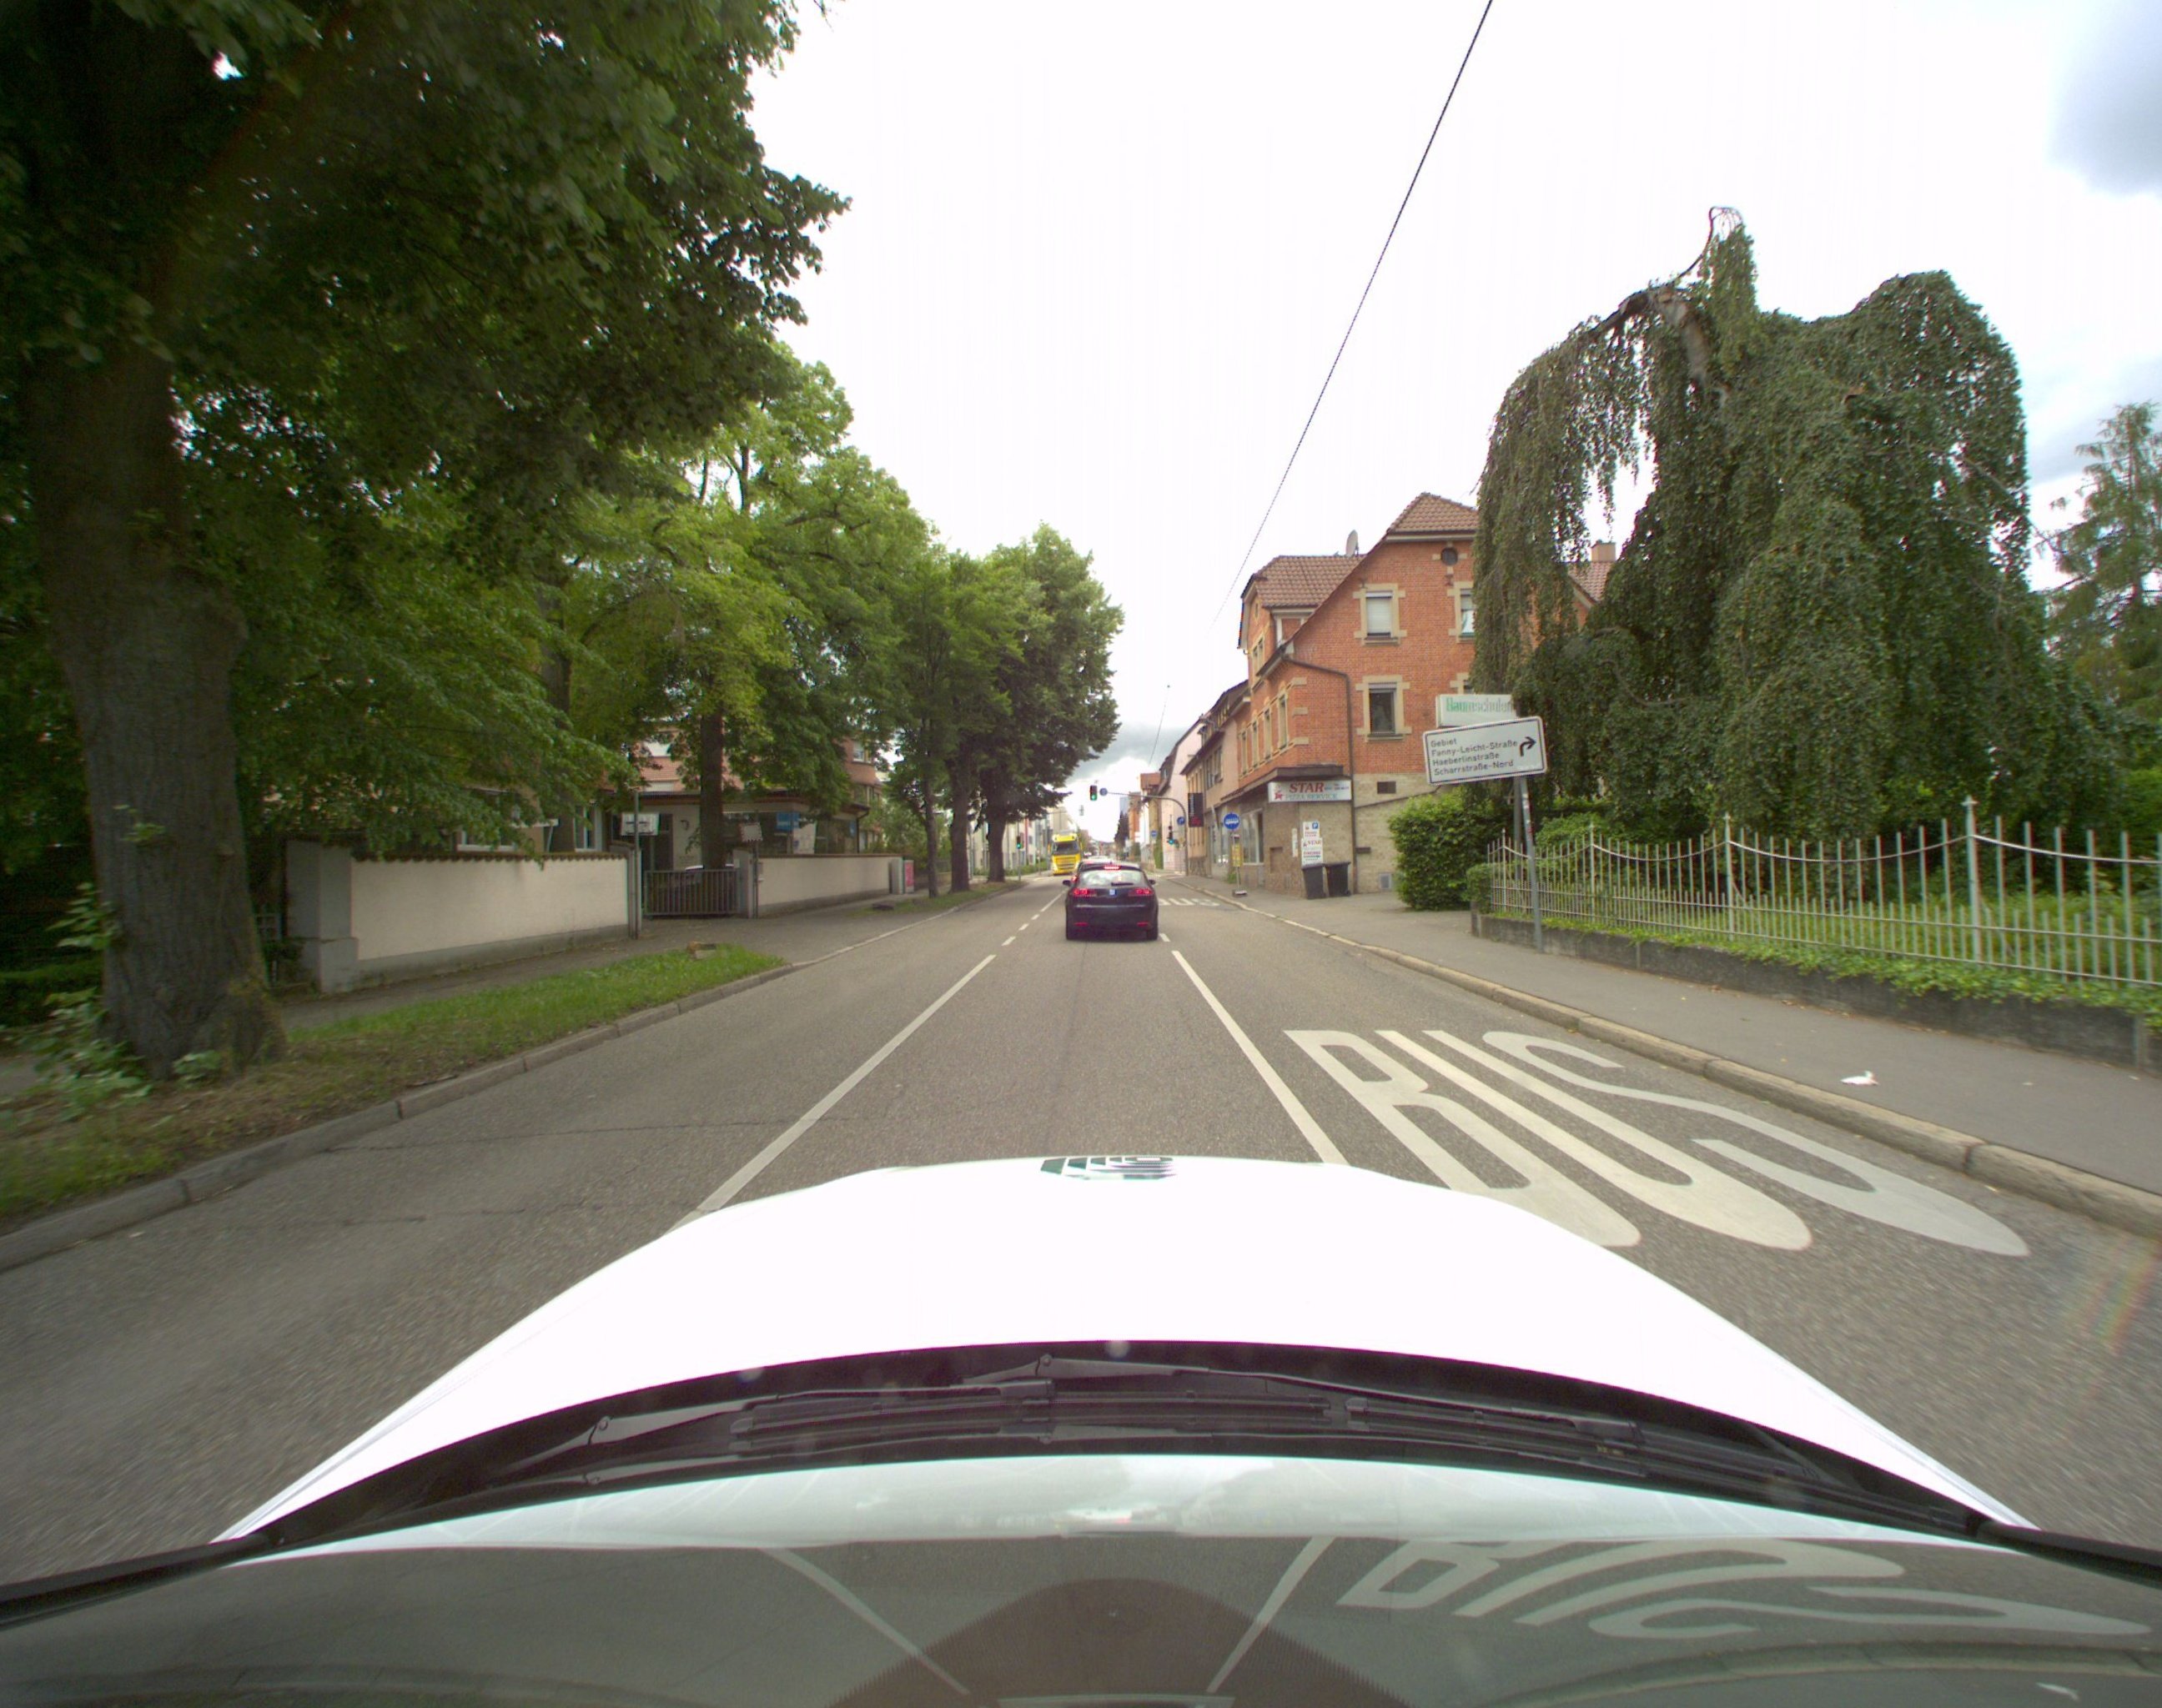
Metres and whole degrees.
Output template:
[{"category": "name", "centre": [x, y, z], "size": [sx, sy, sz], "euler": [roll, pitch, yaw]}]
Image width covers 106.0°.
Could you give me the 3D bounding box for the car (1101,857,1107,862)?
[{"category": "car", "centre": [6.872, 1.638, 242.823], "size": [1.526, 1.693, 3.694], "euler": [-2, 0, 1]}]

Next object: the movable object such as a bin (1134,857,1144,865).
[{"category": "movable object such as a bin", "centre": [10.828, 1.348, 152.917], "size": [1.811, 1.437, 1.994], "euler": [0, -1, 2]}]

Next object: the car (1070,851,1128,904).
[{"category": "car", "centre": [0.627, 0.783, 28.033], "size": [1.836, 1.693, 4.000], "euler": [0, -1, 1]}]

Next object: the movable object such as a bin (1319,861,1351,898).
[{"category": "movable object such as a bin", "centre": [7.667, 0.754, 24.576], "size": [0.696, 1.059, 0.724], "euler": [-3, -1, 1]}]

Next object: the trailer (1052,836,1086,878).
[{"category": "trailer", "centre": [-1.048, 0.385, 82.131], "size": [2.847, 3.808, 14.395], "euler": [0, -1, 2]}]

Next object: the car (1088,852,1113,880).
[{"category": "car", "centre": [1.246, 0.774, 52.292], "size": [1.526, 1.693, 3.693], "euler": [0, -1, 1]}]

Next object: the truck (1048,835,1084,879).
[{"category": "truck", "centre": [-1.283, 0.312, 74.539], "size": [2.833, 3.782, 7.672], "euler": [0, -1, 2]}]

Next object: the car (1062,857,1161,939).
[{"category": "car", "centre": [0.591, 0.813, 16.411], "size": [1.752, 1.442, 4.001], "euler": [0, -1, 1]}]

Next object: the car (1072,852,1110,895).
[{"category": "car", "centre": [0.432, 0.815, 34.351], "size": [1.526, 1.693, 3.693], "euler": [0, -1, 1]}]

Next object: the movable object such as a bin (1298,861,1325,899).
[{"category": "movable object such as a bin", "centre": [6.932, 0.784, 24.532], "size": [0.604, 1.101, 0.623], "euler": [-3, -1, 1]}]
